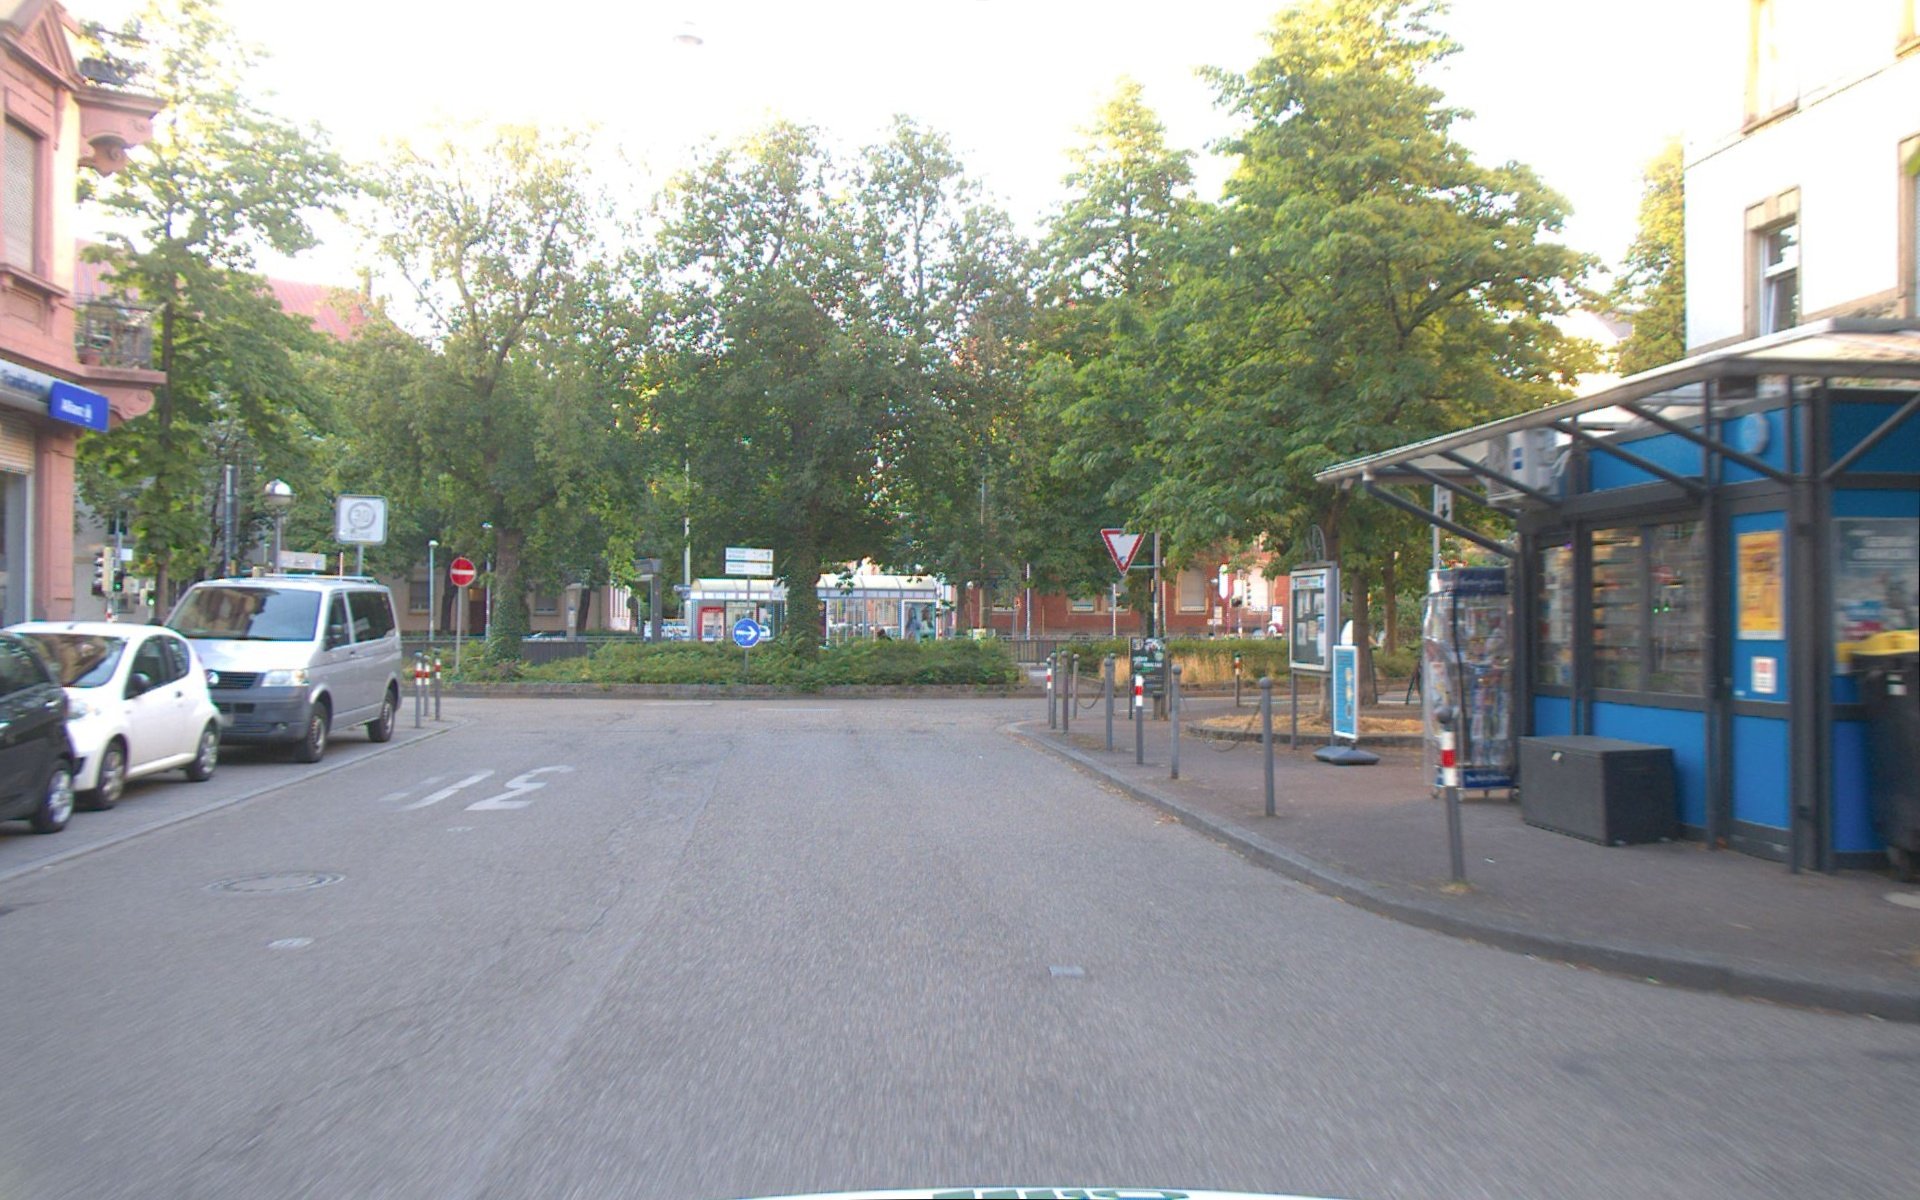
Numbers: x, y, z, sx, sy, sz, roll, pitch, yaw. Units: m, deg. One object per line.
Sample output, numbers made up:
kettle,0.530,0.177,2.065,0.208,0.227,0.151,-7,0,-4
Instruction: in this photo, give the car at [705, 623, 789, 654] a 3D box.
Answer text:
car,-12.682,2.302,98.478,4.861,1.733,1.995,1,-1,-10

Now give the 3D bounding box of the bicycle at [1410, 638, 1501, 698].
bicycle,9.068,1.236,30.316,0.425,1.058,1.882,0,-1,-26

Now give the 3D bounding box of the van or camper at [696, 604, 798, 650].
van or camper,-15.573,1.981,121.016,7.232,3.137,2.666,1,-1,-11

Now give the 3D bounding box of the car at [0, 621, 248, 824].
car,-7.696,0.965,14.479,1.652,1.517,3.608,2,-1,-7

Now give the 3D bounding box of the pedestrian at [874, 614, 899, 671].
pedestrian,-1.871,1.074,42.052,0.604,1.456,0.655,0,-1,-5

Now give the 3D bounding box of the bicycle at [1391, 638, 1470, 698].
bicycle,8.624,1.236,30.386,0.425,1.058,1.594,0,-1,-26

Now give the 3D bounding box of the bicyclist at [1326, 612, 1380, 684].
bicyclist,8.458,1.025,35.557,0.907,1.529,0.701,0,-1,-33

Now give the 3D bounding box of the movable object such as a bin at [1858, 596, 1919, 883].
movable object such as a bin,5.640,0.714,8.843,1.196,1.501,0.766,-3,-1,3

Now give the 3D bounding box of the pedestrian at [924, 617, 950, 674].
pedestrian,-0.595,1.157,42.482,0.604,1.456,0.655,0,-1,-5

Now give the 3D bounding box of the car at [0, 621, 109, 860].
car,-7.004,0.893,10.547,1.697,1.517,3.733,2,-1,-10

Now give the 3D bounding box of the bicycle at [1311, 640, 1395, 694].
bicycle,8.449,1.429,35.547,1.811,1.089,0.701,0,-1,-33

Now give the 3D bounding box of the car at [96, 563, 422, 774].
car,-7.906,0.734,19.270,2.001,2.093,4.999,2,-1,-5

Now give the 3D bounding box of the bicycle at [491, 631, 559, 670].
bicycle,-12.527,1.450,47.631,1.828,1.070,0.541,0,-1,-28

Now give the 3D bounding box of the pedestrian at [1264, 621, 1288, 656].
pedestrian,13.895,1.683,72.788,0.848,1.553,0.714,-1,-1,32
